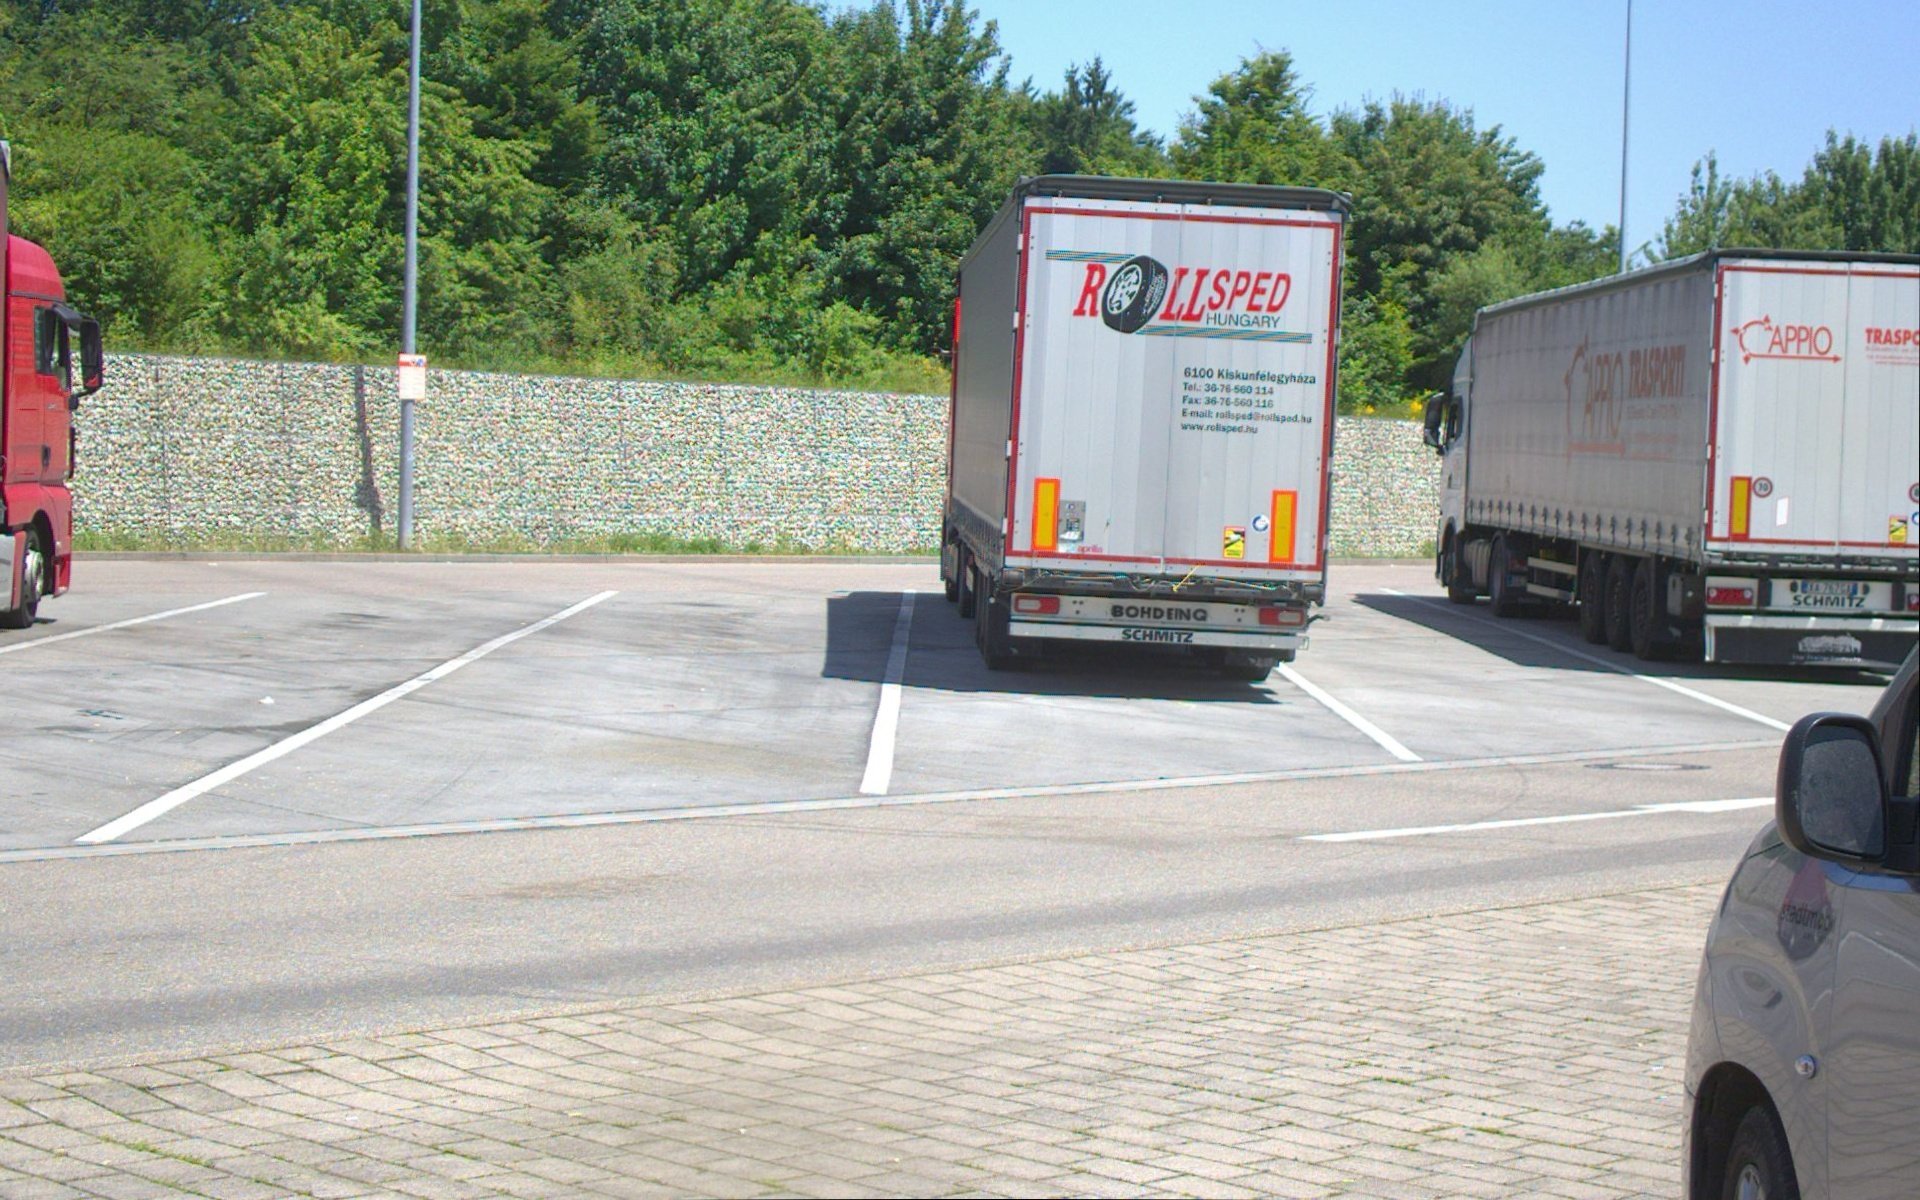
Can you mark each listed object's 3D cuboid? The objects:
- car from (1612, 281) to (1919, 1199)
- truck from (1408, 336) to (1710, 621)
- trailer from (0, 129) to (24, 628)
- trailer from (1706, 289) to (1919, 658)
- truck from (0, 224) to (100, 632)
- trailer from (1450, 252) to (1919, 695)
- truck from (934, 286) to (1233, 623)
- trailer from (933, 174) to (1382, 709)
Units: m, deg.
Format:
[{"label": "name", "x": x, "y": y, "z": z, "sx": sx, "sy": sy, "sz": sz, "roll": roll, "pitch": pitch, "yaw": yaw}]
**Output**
[{"label": "car", "x": 2.158, "y": 0.581, "z": 3.850, "sx": 1.869, "sy": 1.857, "sz": 4.177, "roll": 2, "pitch": 2, "yaw": -2}, {"label": "truck", "x": 8.030, "y": -1.705, "z": 46.831, "sx": 2.862, "sy": 3.509, "sz": 5.900, "roll": 2, "pitch": 3, "yaw": -1}, {"label": "trailer", "x": -9.185, "y": -1.496, "z": 21.568, "sx": 2.791, "sy": 4.071, "sz": 14.133, "roll": 2, "pitch": 3, "yaw": -1}, {"label": "trailer", "x": 11.763, "y": -1.460, "z": 39.783, "sx": 2.811, "sy": 3.976, "sz": 14.396, "roll": 2, "pitch": 3, "yaw": -1}, {"label": "truck", "x": -9.229, "y": -1.452, "z": 28.142, "sx": 2.851, "sy": 3.316, "sz": 5.900, "roll": 2, "pitch": 3, "yaw": -1}, {"label": "trailer", "x": 8.123, "y": -1.528, "z": 38.731, "sx": 2.811, "sy": 3.976, "sz": 14.396, "roll": 2, "pitch": 3, "yaw": -1}, {"label": "truck", "x": 1.319, "y": -1.742, "z": 40.510, "sx": 3.103, "sy": 3.554, "sz": 5.900, "roll": 2, "pitch": 3, "yaw": -1}, {"label": "trailer", "x": 1.456, "y": -1.599, "z": 33.618, "sx": 3.133, "sy": 3.976, "sz": 14.397, "roll": 2, "pitch": 3, "yaw": -1}]
